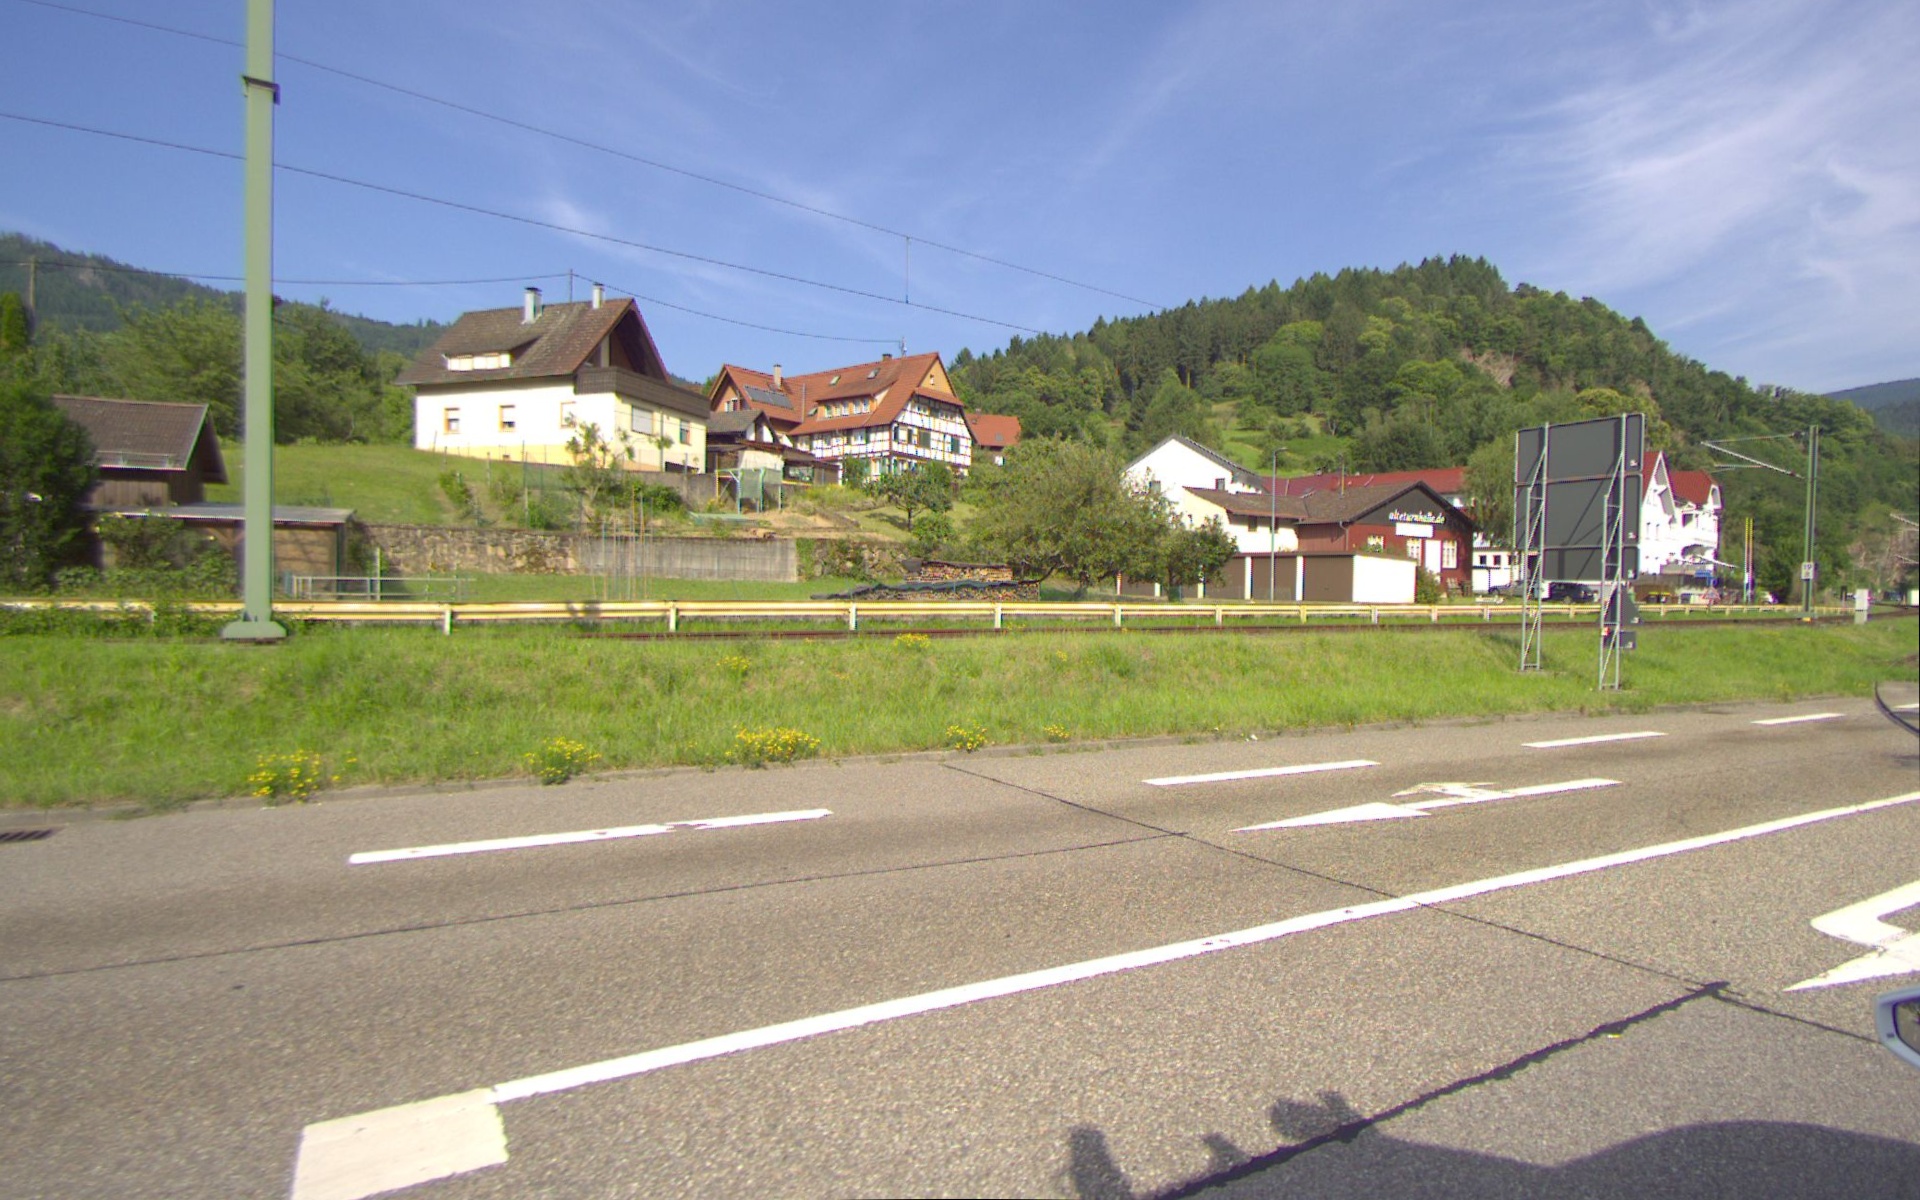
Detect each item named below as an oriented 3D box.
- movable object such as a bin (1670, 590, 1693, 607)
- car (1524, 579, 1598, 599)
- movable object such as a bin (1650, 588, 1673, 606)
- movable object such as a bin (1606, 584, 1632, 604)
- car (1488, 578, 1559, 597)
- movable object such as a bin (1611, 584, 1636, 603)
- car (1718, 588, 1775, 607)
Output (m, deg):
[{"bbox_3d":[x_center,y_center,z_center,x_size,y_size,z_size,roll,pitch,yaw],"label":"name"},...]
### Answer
[{"bbox_3d":[50.885,-0.103,70.859,1.134,1.208,1.080,0,2,-40],"label":"movable object such as a bin"},{"bbox_3d":[41.686,-0.744,69.763,1.721,1.288,4.062,0,2,-38],"label":"car"},{"bbox_3d":[50.082,-0.227,71.688,1.134,1.208,1.080,-1,3,-40],"label":"movable object such as a bin"},{"bbox_3d":[41.174,-0.385,62.782,1.127,1.208,1.086,3,2,44],"label":"movable object such as a bin"},{"bbox_3d":[41.675,-0.945,74.365,1.740,1.347,4.218,0,2,-39],"label":"car"},{"bbox_3d":[42.034,-0.420,63.655,1.127,1.208,1.086,3,2,44],"label":"movable object such as a bin"},{"bbox_3d":[77.393,-0.231,98.882,1.984,1.714,4.109,0,1,-40],"label":"car"}]
